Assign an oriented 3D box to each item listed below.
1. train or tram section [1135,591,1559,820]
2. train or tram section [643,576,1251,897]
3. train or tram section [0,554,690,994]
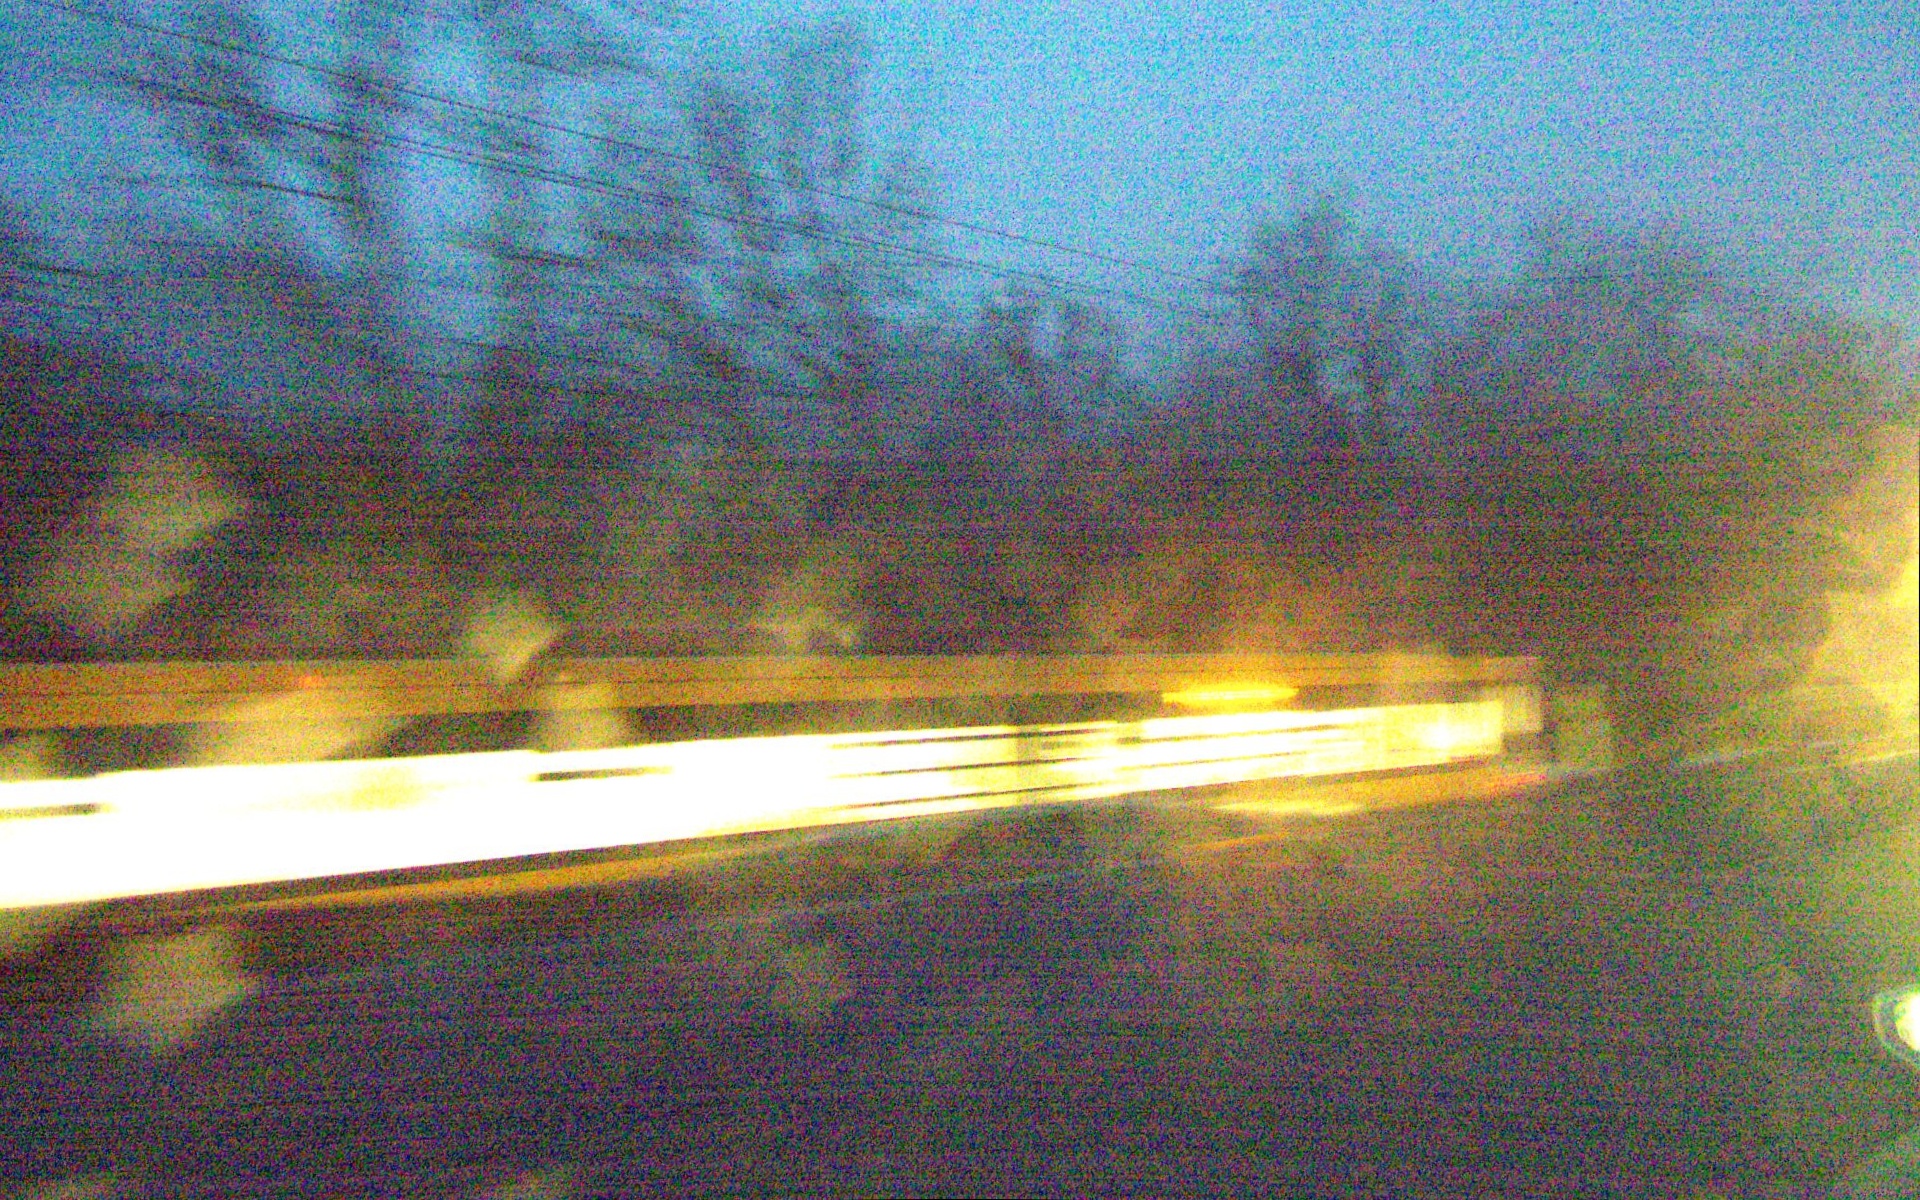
[{"bbox_3d":[7.434,1.679,18.775,8.455,3.506,2.829,1,-1,-31],"label":"train or tram section"},{"bbox_3d":[0.112,1.556,14.364,8.455,3.506,2.829,1,-1,-31],"label":"train or tram section"},{"bbox_3d":[-7.266,1.414,9.899,8.455,3.506,2.829,1,-1,-31],"label":"train or tram section"}]
